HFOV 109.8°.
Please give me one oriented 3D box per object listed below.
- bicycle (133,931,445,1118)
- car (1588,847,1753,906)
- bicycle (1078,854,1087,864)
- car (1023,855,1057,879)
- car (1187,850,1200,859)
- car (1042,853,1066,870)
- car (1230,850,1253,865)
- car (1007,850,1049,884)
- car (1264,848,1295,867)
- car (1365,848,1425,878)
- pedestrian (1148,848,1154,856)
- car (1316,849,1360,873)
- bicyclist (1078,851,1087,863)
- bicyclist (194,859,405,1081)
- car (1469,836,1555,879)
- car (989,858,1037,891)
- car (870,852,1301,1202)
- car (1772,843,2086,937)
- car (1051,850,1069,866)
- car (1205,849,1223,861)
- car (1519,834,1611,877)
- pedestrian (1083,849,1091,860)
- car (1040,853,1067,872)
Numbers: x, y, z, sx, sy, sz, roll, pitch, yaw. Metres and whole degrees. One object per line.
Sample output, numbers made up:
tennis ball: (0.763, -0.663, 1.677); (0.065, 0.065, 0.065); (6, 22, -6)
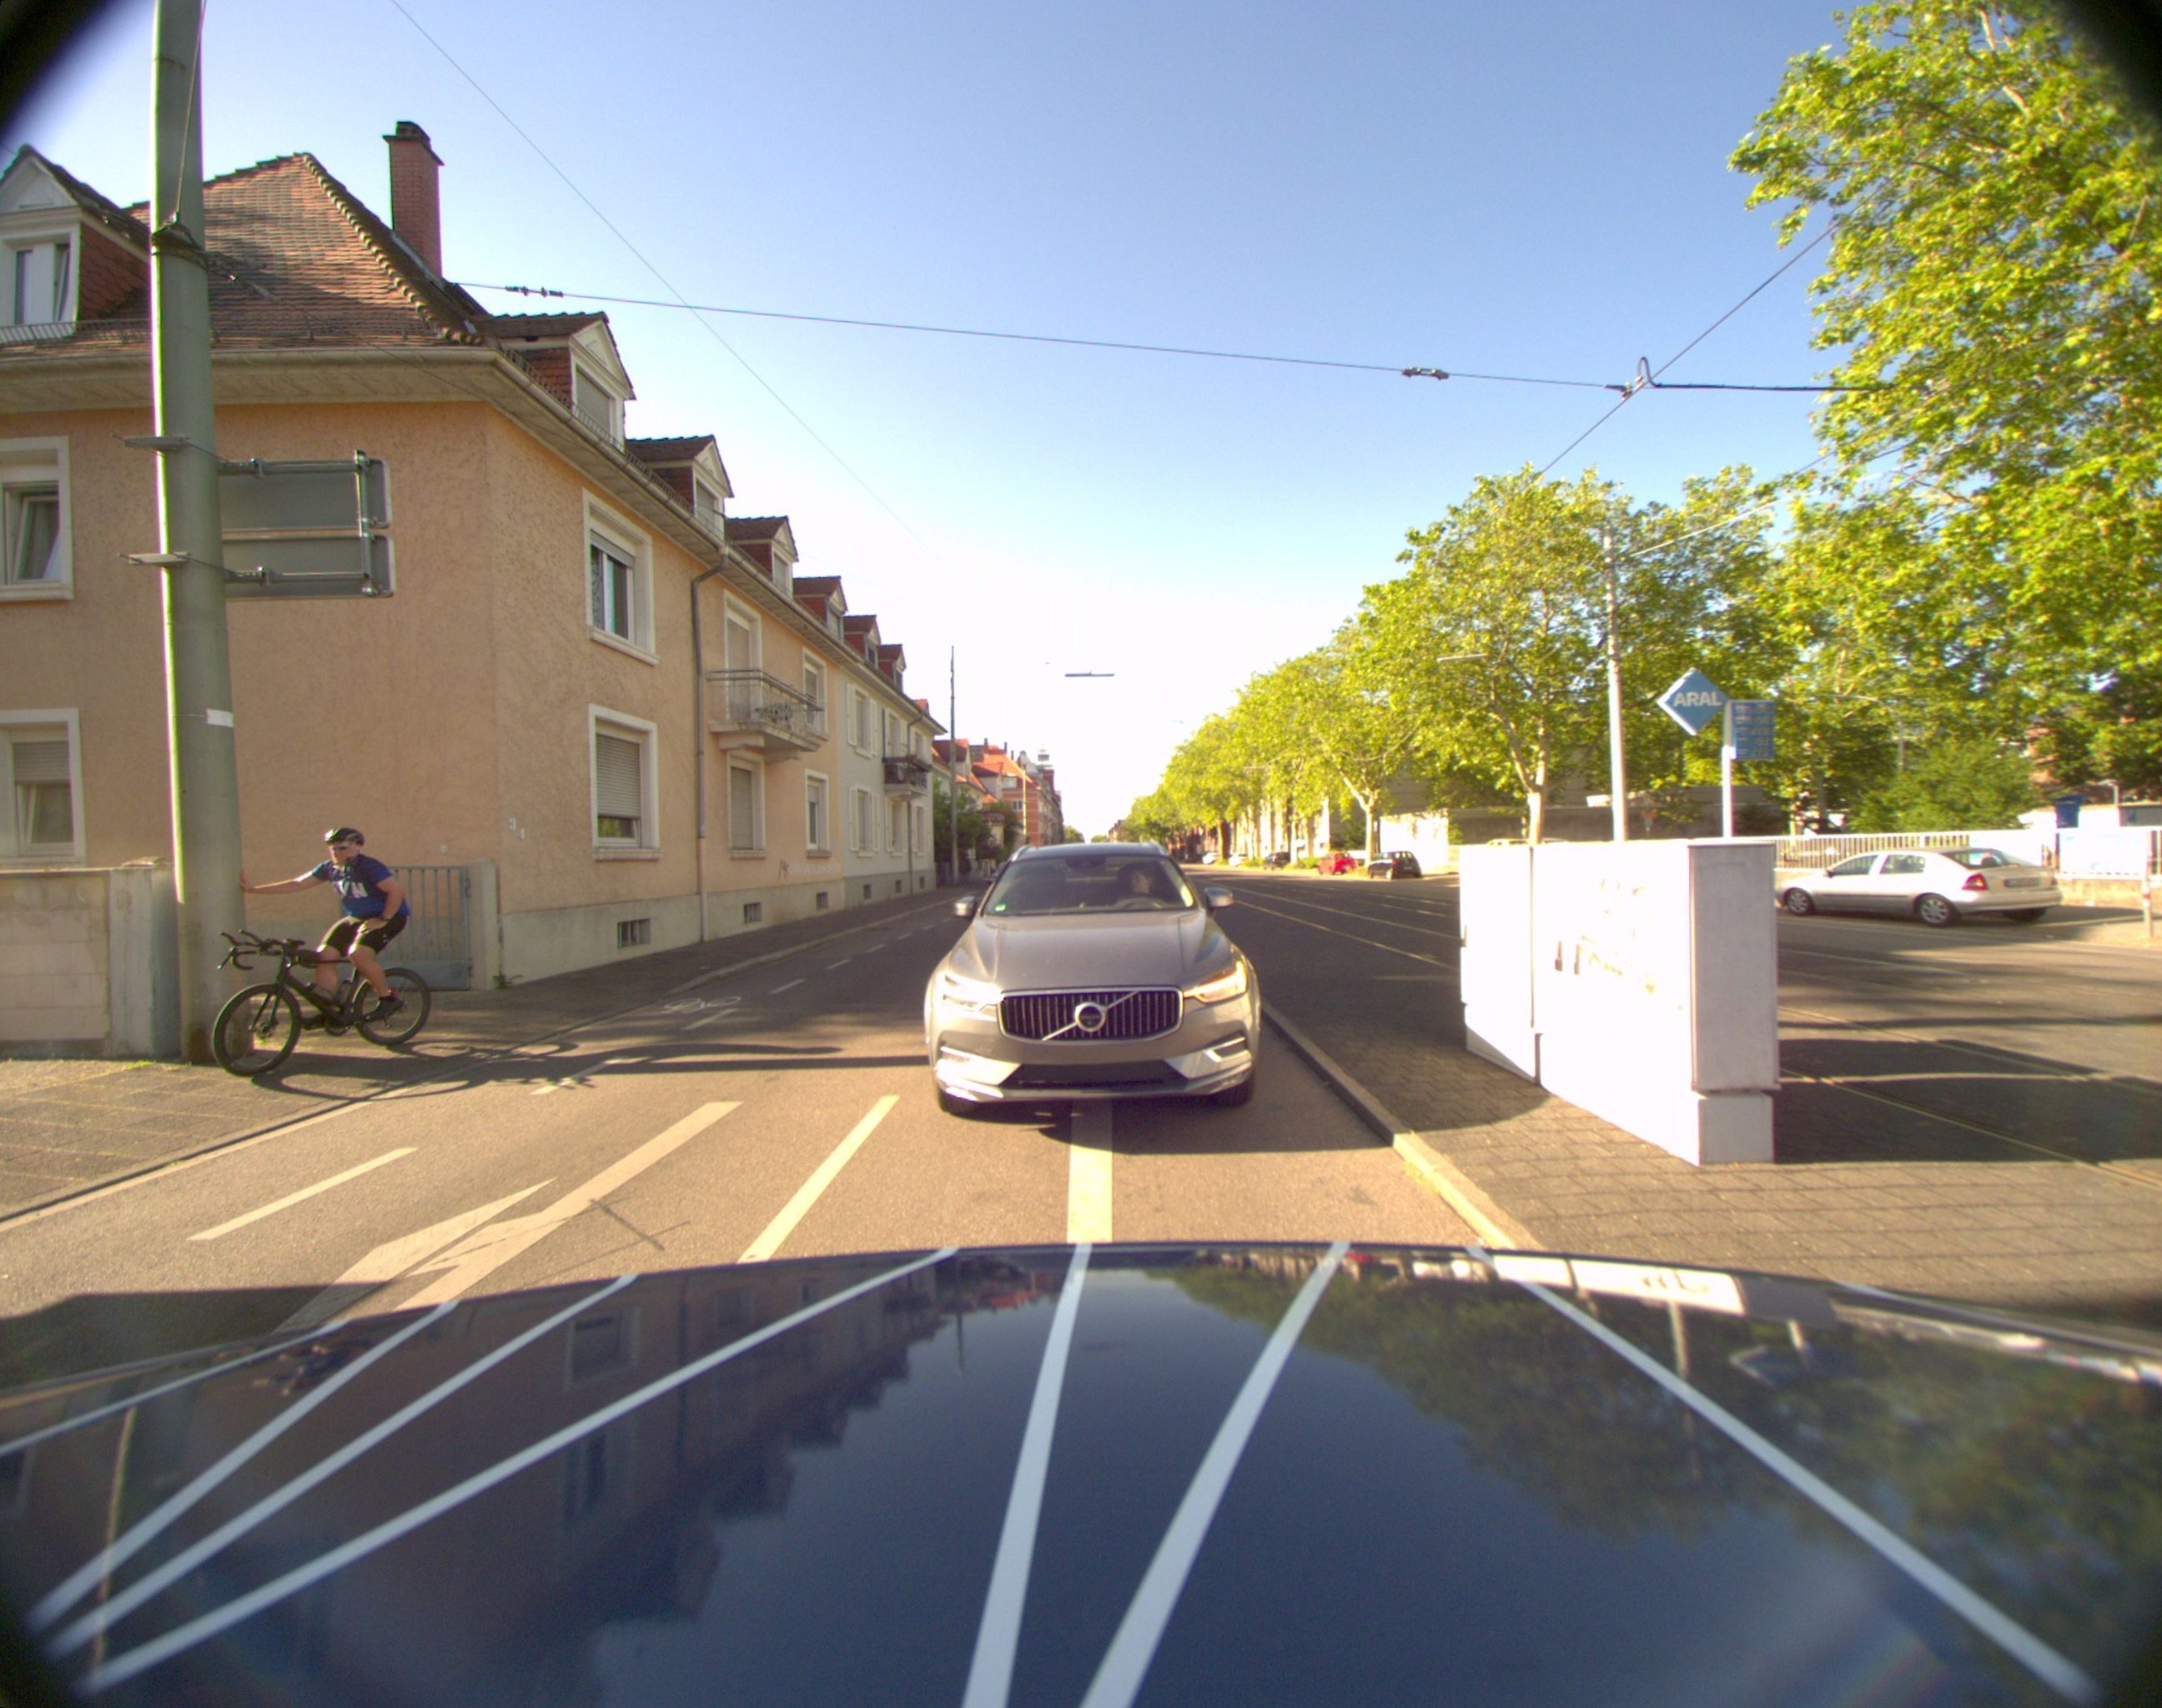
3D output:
bicycle: (-6.164, 1.257, 6.091); (0.550, 1.056, 1.794); (4, 0, 1)
car: (16.475, 0.568, 21.510); (1.745, 1.389, 3.858); (-4, 0, 3)
bicycle: (0.237, 0.607, 95.275); (1.054, 1.262, 3.914); (-1, 0, 1)
car: (-2.582, 0.807, 48.492); (1.867, 1.399, 4.078); (-1, 0, 1)
car: (18.502, 0.052, 125.288); (1.758, 1.475, 3.858); (-3, 0, 3)
car: (-2.358, 0.612, 66.356); (1.867, 1.399, 4.078); (-1, 0, 1)
car: (17.574, 0.352, 83.338); (1.758, 1.475, 3.858); (-3, 0, 3)
car: (-2.917, 0.694, 42.825); (1.867, 1.778, 5.297); (-1, 0, 1)
car: (17.169, 0.291, 65.911); (1.758, 1.536, 3.858); (-3, 0, 3)
car: (16.888, 0.457, 41.037); (1.758, 1.449, 3.858); (-3, 0, 3)
pedestrian: (19.585, -0.555, 213.132); (1.686, 2.002, 1.761); (-1, 1, 1)
car: (16.900, 0.449, 50.179); (1.717, 1.421, 3.858); (-3, 0, 3)
bicyclist: (0.238, 0.362, 94.981); (1.054, 1.496, 1.250); (-1, 1, 1)
bicyclist: (-6.150, 0.851, 6.047); (0.562, 1.607, 1.016); (-1, 1, 1)
car: (21.808, 0.169, 38.636); (1.999, 2.002, 3.999); (-1, 0, -1)
car: (-3.240, 0.957, 37.071); (1.867, 1.399, 4.424); (-1, 0, 1)
car: (0.053, 0.811, 5.926); (1.998, 1.609, 4.697); (-1, 0, 1)
car: (16.235, 0.608, 14.902); (1.847, 1.477, 3.858); (-4, 0, 2)
car: (-2.330, 0.422, 85.445); (1.867, 1.653, 4.078); (-1, 0, 1)
car: (17.666, 0.160, 100.932); (1.758, 1.475, 3.858); (-3, 0, 3)
car: (24.156, 0.080, 38.095); (1.999, 2.002, 3.999); (-1, 0, -1)
pedestrian: (1.163, 0.142, 140.593); (1.457, 2.002, 1.193); (-1, 1, 0)
car: (-2.137, 0.659, 60.051); (1.867, 1.399, 4.078); (-1, 0, 1)
